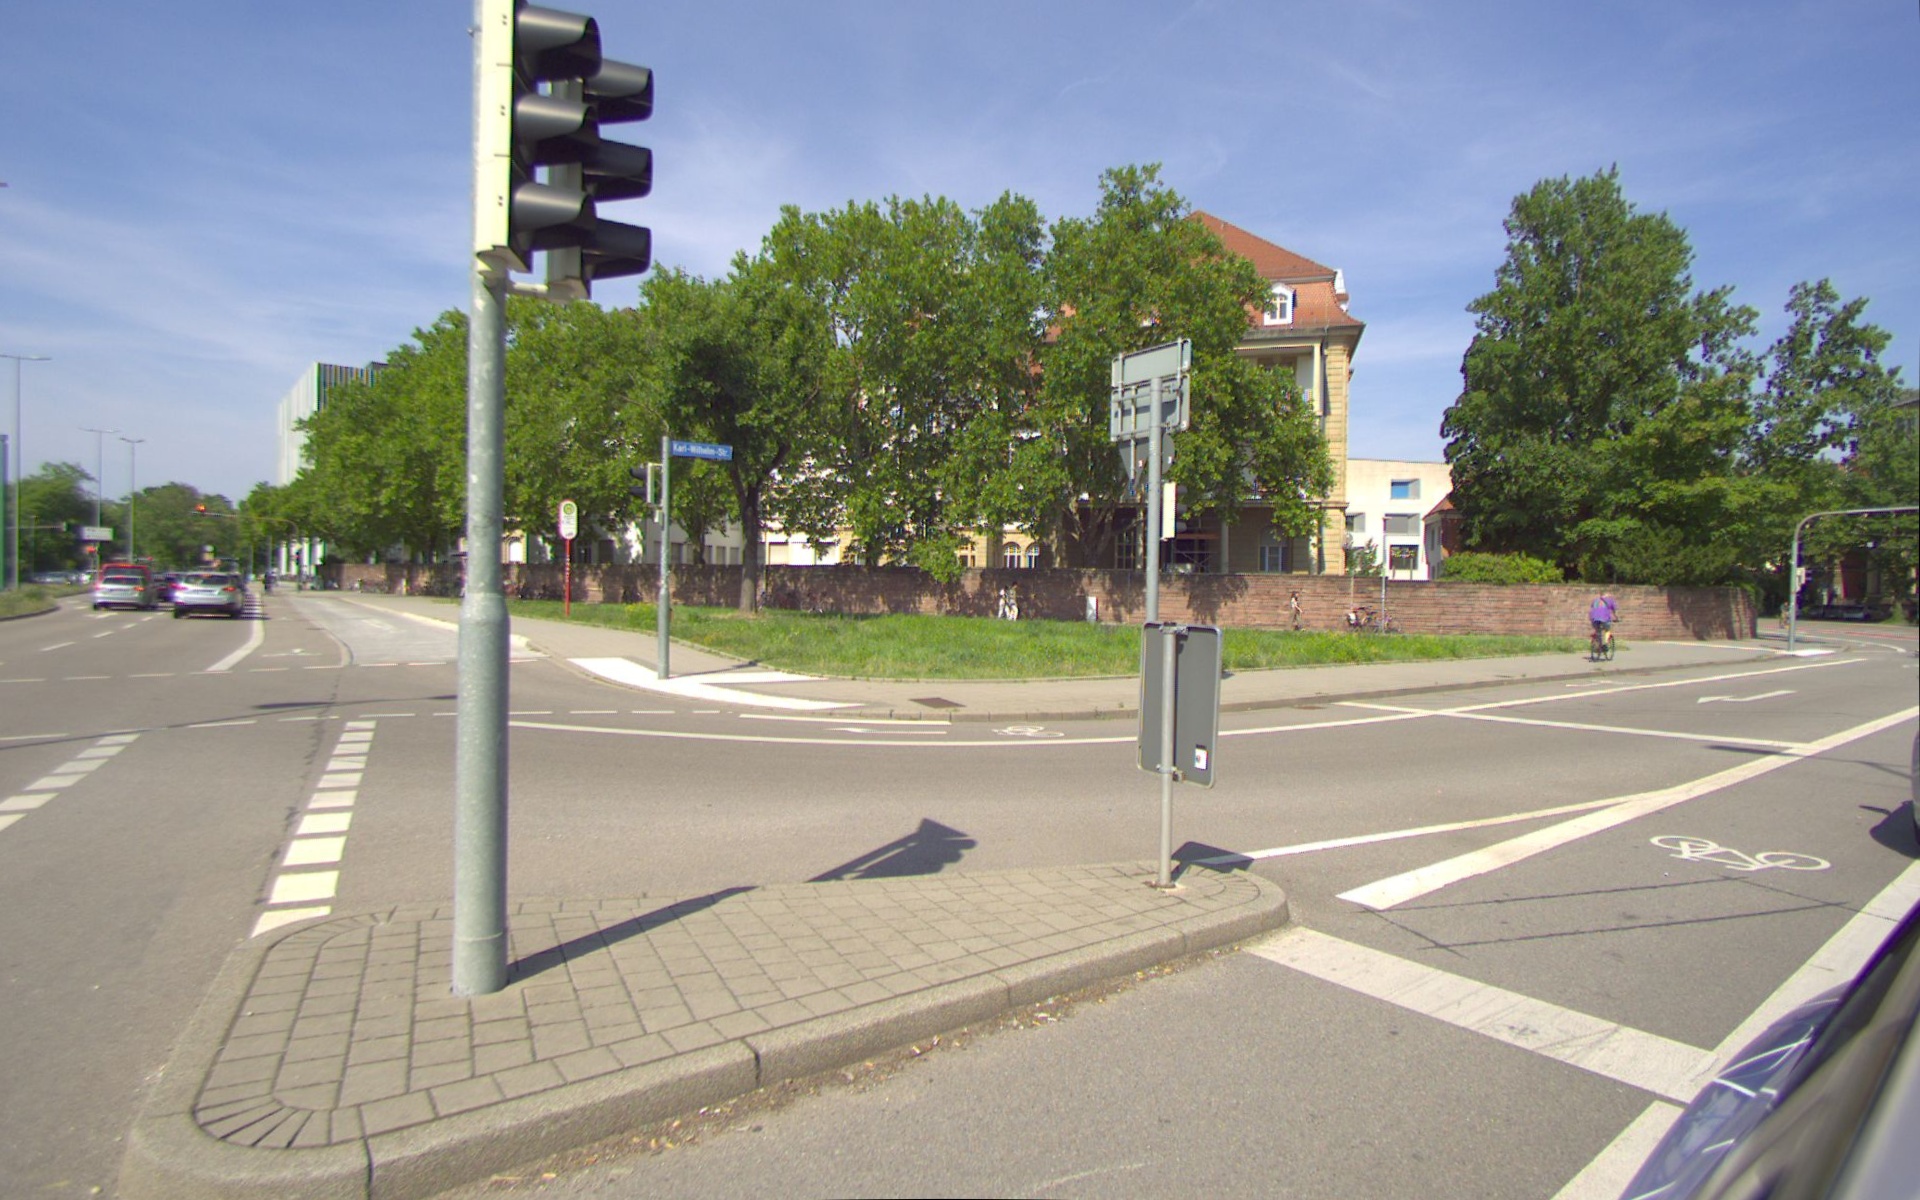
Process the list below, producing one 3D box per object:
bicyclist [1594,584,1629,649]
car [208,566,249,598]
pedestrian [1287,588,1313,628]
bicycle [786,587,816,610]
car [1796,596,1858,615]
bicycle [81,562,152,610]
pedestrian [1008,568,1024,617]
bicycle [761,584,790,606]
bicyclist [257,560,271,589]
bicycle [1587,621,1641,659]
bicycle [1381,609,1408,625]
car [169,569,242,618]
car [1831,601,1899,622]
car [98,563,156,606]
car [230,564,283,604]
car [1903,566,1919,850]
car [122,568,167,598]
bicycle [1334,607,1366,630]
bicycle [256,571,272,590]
[{"bbox_3d":[17.070,0.411,26.499,1.066,1.657,0.487,0,1,-42],"label":"bicyclist"},{"bbox_3d":[-48.842,-1.237,67.546,1.965,2.039,3.995,0,2,-40],"label":"car"},{"bbox_3d":[13.556,0.327,40.364,0.900,1.567,0.501,1,1,15],"label":"pedestrian"},{"bbox_3d":[-7.782,-0.074,49.448,1.433,1.046,0.444,2,1,26],"label":"bicycle"},{"bbox_3d":[82.105,0.514,95.847,3.945,1.682,1.990,-1,2,17],"label":"car"},{"bbox_3d":[-33.915,-0.608,40.781,1.963,1.838,3.999,0,2,-37],"label":"bicycle"},{"bbox_3d":[2.343,-0.335,42.653,0.586,2.039,0.522,1,1,10],"label":"pedestrian"},{"bbox_3d":[-9.126,-0.238,50.095,1.433,1.046,0.444,2,1,26],"label":"bicycle"},{"bbox_3d":[-50.750,-1.825,73.776,0.763,2.039,1.274,0,-1,-32],"label":"bicyclist"},{"bbox_3d":[17.187,1.023,26.563,1.899,0.898,0.684,0,1,-41],"label":"bicycle"},{"bbox_3d":[17.370,0.694,40.464,0.929,0.609,0.274,1,1,0],"label":"bicycle"},{"bbox_3d":[-27.085,-0.260,36.440,1.677,1.638,4.222,1,1,-31],"label":"car"},{"bbox_3d":[79.745,0.998,89.242,3.943,1.682,1.991,-1,2,16],"label":"car"},{"bbox_3d":[-37.659,-0.725,45.774,1.944,1.819,4.607,0,1,-39],"label":"car"},{"bbox_3d":[-37.682,-0.857,54.163,1.965,2.039,3.995,0,1,-40],"label":"car"},{"bbox_3d":[7.533,0.644,6.233,4.073,1.606,1.690,0,1,-35],"label":"car"},{"bbox_3d":[-43.969,-0.961,54.626,1.768,1.529,3.997,-2,3,-38],"label":"car"},{"bbox_3d":[15.568,0.751,40.426,1.202,0.894,0.395,1,1,-19],"label":"bicycle"},{"bbox_3d":[-50.671,-1.404,73.677,0.832,1.233,3.486,0,-1,-33],"label":"bicycle"}]
